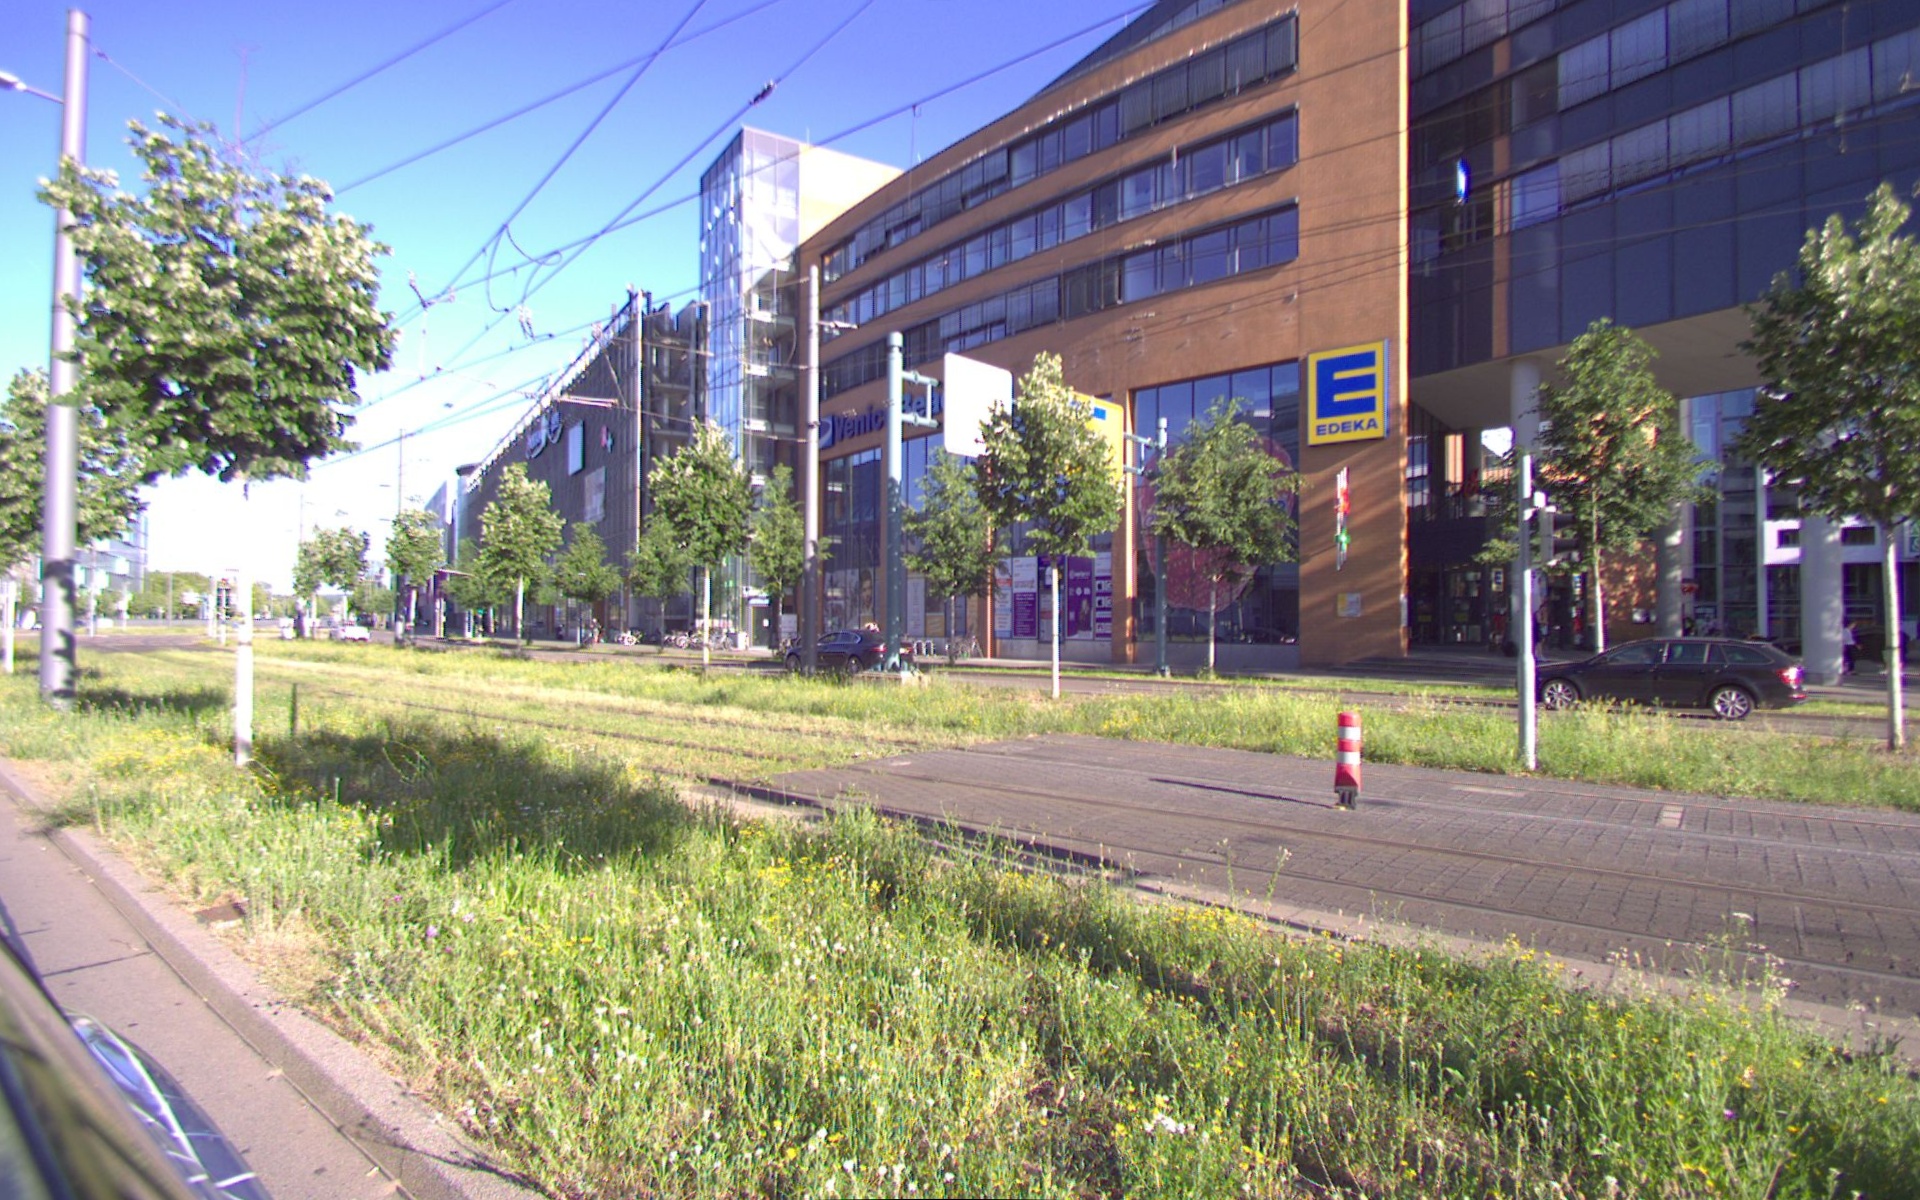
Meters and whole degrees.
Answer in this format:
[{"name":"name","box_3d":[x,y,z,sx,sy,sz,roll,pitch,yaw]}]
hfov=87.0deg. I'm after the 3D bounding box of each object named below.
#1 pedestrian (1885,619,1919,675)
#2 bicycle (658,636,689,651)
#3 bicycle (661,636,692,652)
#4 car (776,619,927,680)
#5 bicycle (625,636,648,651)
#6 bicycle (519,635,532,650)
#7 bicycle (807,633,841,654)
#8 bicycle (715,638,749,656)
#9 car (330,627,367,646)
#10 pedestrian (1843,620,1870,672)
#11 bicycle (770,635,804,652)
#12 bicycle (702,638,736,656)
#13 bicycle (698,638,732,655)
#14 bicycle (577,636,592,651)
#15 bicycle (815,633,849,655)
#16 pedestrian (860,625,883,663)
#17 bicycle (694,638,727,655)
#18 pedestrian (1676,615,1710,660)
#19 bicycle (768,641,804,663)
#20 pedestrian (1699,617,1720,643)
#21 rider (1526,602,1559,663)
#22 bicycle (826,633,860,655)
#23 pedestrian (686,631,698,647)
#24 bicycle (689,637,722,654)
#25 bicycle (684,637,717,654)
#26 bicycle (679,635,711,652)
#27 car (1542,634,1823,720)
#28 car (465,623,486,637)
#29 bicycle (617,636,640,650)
[{"name":"pedestrian","box_3d":[28.113,1.381,30.105,0.724,1.610,0.838,0,-1,-44]},{"name":"bicycle","box_3d":[-17.585,2.665,62.127,1.741,0.933,0.492,1,-2,-33]},{"name":"bicycle","box_3d":[-17.237,2.658,61.535,1.741,0.933,0.566,1,-2,-33]},{"name":"car","box_3d":[-3.345,1.493,30.551,1.970,1.608,4.742,9,-7,-44]},{"name":"bicycle","box_3d":[-21.174,2.838,66.202,1.377,0.933,0.463,1,-2,-33]},{"name":"bicycle","box_3d":[-27.404,2.656,63.833,0.380,0.930,1.775,1,-2,-36]},{"name":"bicycle","box_3d":[-6.930,2.225,51.694,1.744,1.057,0.491,1,-2,-42]},{"name":"bicycle","box_3d":[-12.403,2.536,55.056,1.741,0.933,0.566,1,-2,-33]},{"name":"car","box_3d":[-43.479,2.587,71.917,1.782,1.338,4.415,2,-2,-36]},{"name":"pedestrian","box_3d":[26.563,1.355,30.004,0.572,1.491,0.447,-1,-1,41]},{"name":"bicycle","box_3d":[-9.563,2.410,55.978,1.741,0.933,0.566,1,-2,-33]},{"name":"bicycle","box_3d":[-13.269,2.584,55.724,1.741,0.933,0.566,1,-2,-33]},{"name":"bicycle","box_3d":[-13.644,2.591,56.433,1.741,0.933,0.566,1,-2,-33]},{"name":"bicycle","box_3d":[-22.716,2.633,61.211,0.380,0.875,1.775,1,-2,-36]},{"name":"bicycle","box_3d":[-6.496,2.217,51.260,1.744,1.057,0.491,1,-2,-42]},{"name":"pedestrian","box_3d":[-3.913,1.940,44.773,0.736,1.681,0.676,1,-2,-43]},{"name":"bicycle","box_3d":[-14.070,2.600,57.075,1.741,0.933,0.566,1,-2,-33]},{"name":"pedestrian","box_3d":[28.453,1.453,39.269,0.778,1.720,0.810,0,0,-32]},{"name":"bicycle","box_3d":[-7.207,2.155,41.879,1.771,0.875,0.458,-1,-2,42]},{"name":"pedestrian","box_3d":[37.755,1.506,50.991,0.627,1.287,0.664,0,0,-32]},{"name":"rider","box_3d":[17.598,0.986,30.567,0.712,1.816,0.710,-1,-2,42]},{"name":"bicycle","box_3d":[-5.843,2.206,50.487,1.744,1.057,0.491,1,-2,-42]},{"name":"pedestrian","box_3d":[-17.916,2.586,67.607,0.619,1.063,0.450,1,-2,-36]},{"name":"bicycle","box_3d":[-14.503,2.607,57.628,1.741,0.933,0.566,1,-2,-33]},{"name":"bicycle","box_3d":[-14.924,2.615,58.210,1.741,0.933,0.566,1,-2,-33]},{"name":"bicycle","box_3d":[-15.556,2.548,59.423,1.741,0.933,0.492,1,-2,-33]},{"name":"car","box_3d":[13.437,1.394,19.076,4.136,1.433,1.707,-1,-4,36]},{"name":"car","box_3d":[-56.751,3.513,118.498,1.559,1.541,3.759,0,0,-37]},{"name":"bicycle","box_3d":[-22.094,2.855,67.490,1.377,0.933,0.463,1,-2,-33]}]
